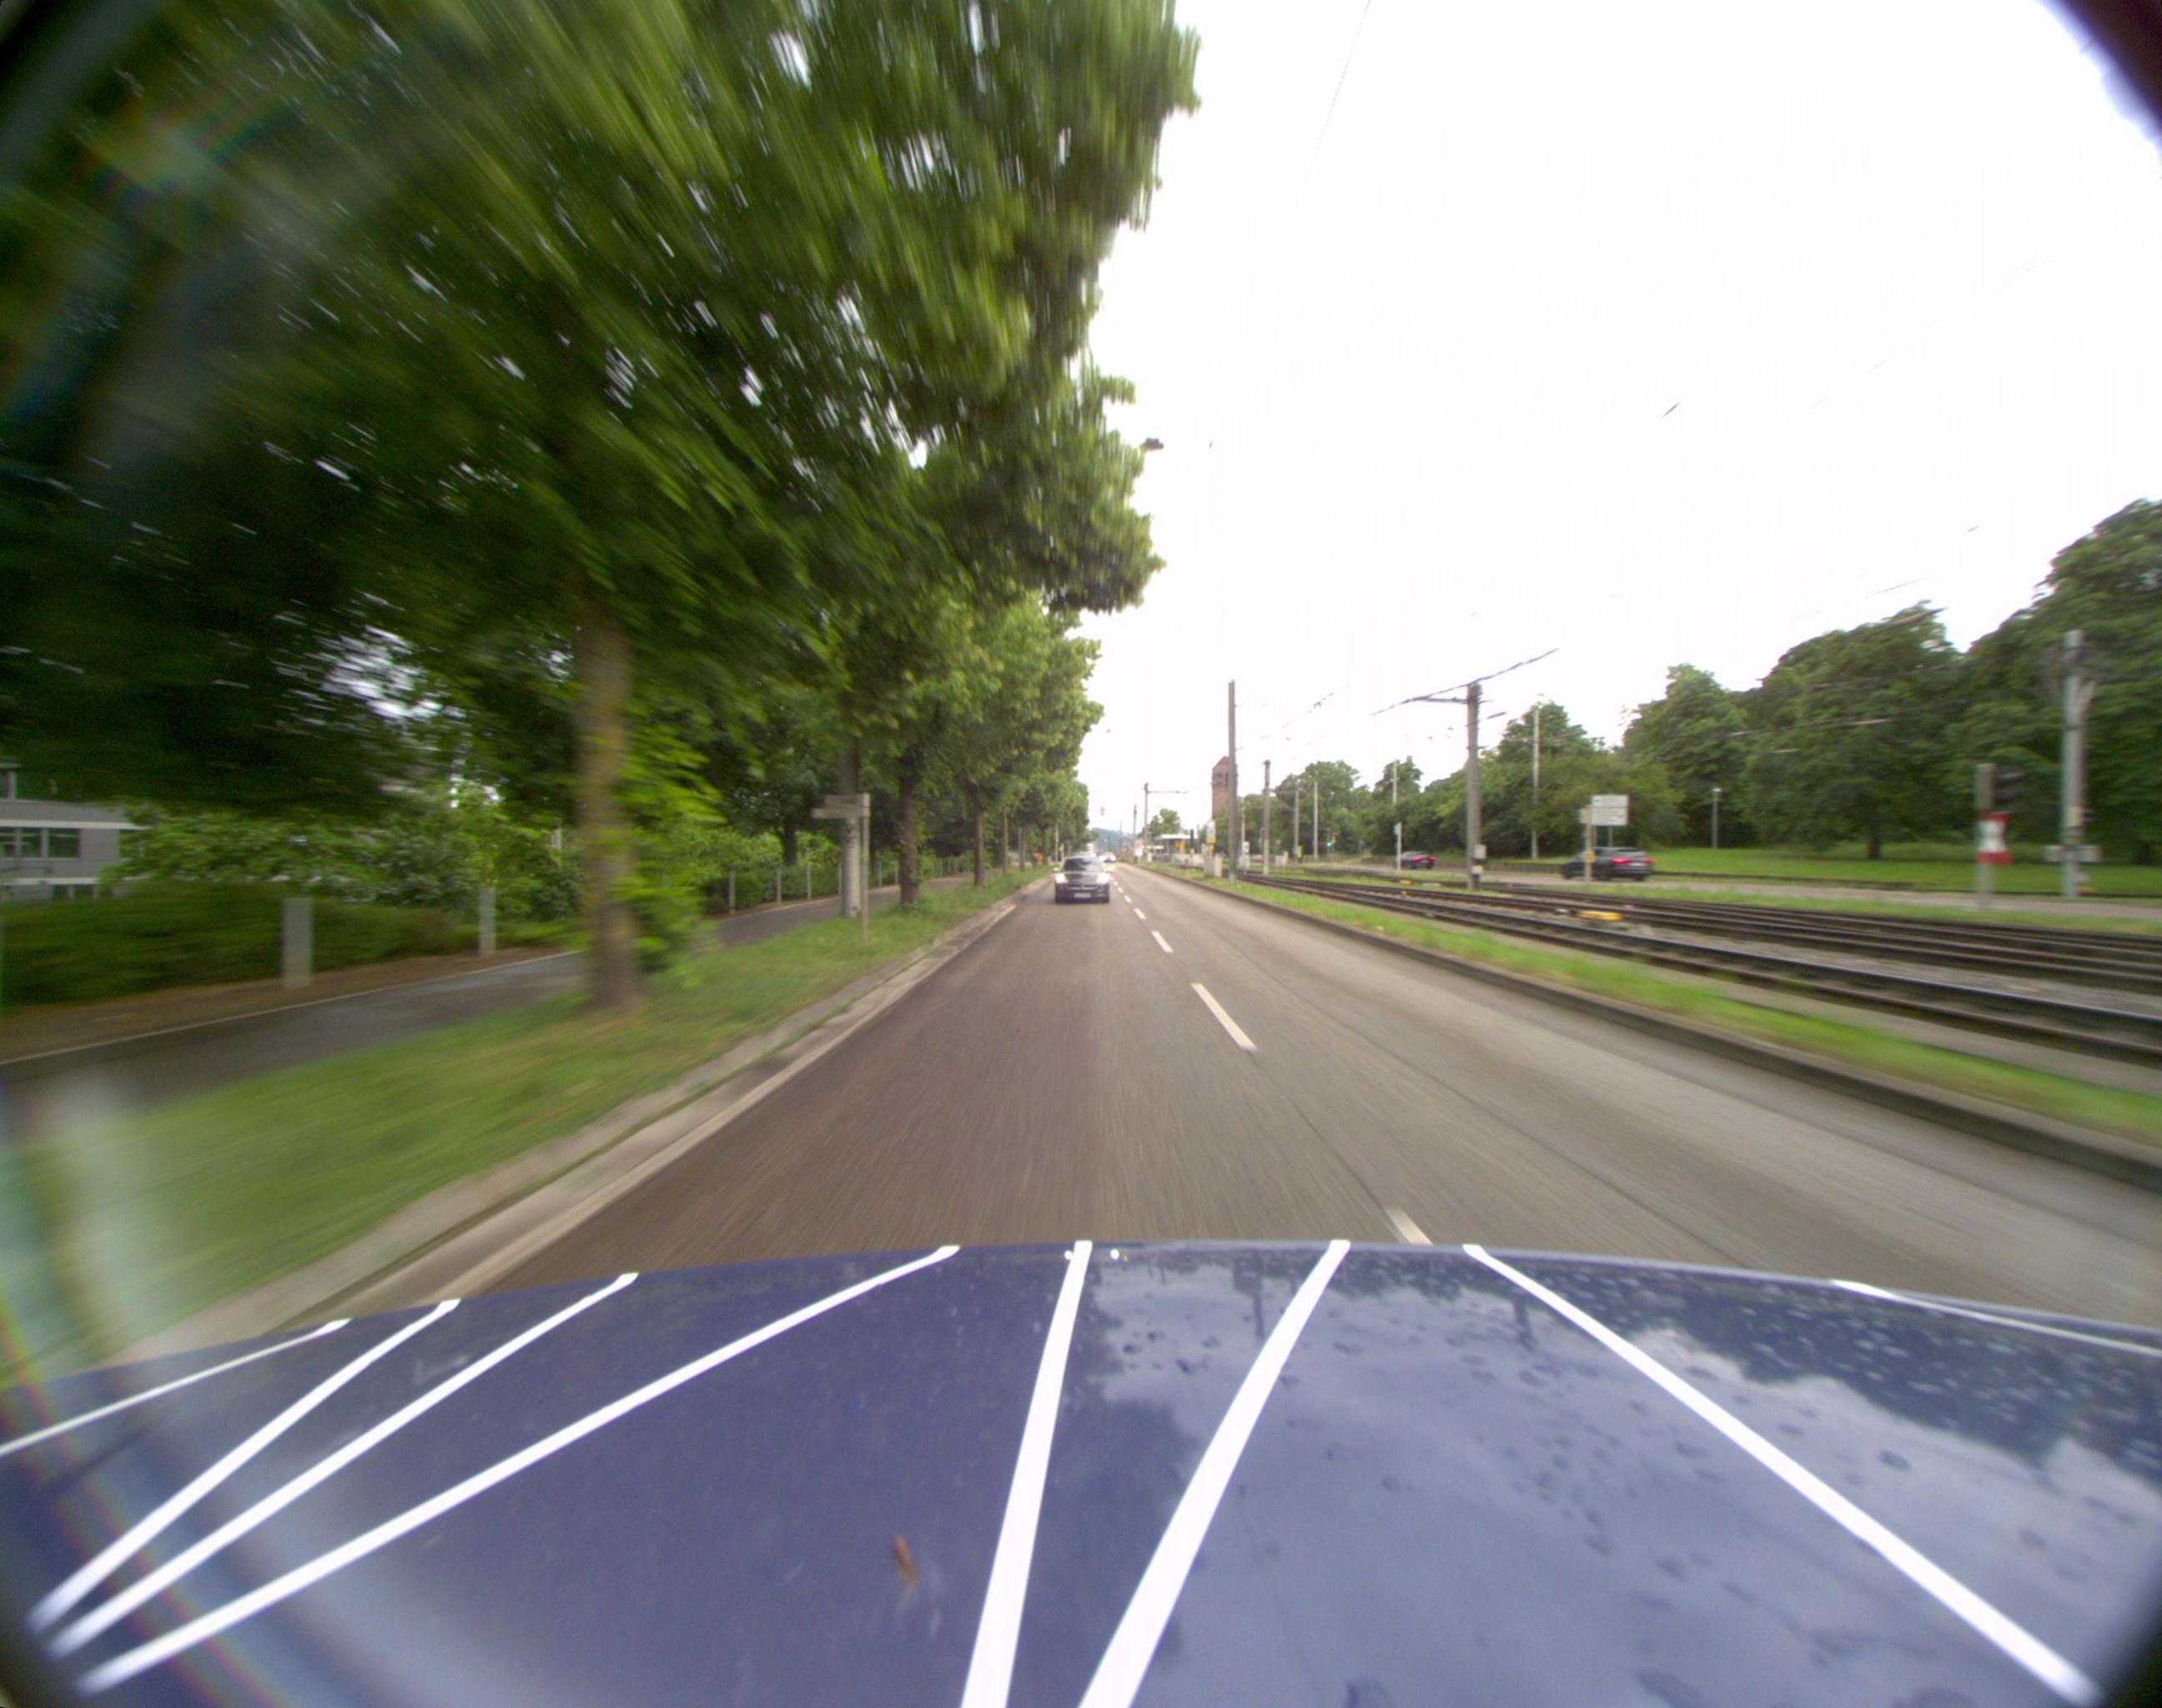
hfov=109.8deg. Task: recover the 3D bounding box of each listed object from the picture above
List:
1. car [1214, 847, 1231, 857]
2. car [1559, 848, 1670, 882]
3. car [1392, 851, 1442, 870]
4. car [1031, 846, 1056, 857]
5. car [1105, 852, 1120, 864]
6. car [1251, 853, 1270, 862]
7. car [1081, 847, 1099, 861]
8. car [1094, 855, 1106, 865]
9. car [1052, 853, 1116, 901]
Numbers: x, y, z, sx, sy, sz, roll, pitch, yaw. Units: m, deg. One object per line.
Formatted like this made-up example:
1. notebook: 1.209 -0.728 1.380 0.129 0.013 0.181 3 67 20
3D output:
1. car: 25.044 -0.339 134.571 2.088 1.729 4.862 0 0 0
2. car: 26.430 0.502 37.932 2.094 1.580 5.159 0 0 3
3. car: 26.772 0.499 60.686 1.931 1.438 4.682 0 0 1
4. car: -7.584 -0.492 153.587 1.994 2.179 5.041 0 1 43
5. car: 4.183 0.552 101.492 1.899 1.432 4.246 -1 -1 1
6. car: 27.705 0.518 117.413 1.932 1.254 4.473 0 0 0
7. car: 1.007 -0.014 86.988 1.998 1.608 4.000 0 0 1
8. car: 2.910 0.922 119.757 1.812 1.566 3.971 -1 1 1
9. car: 0.126 0.715 24.995 1.899 1.432 4.474 -1 -1 1
